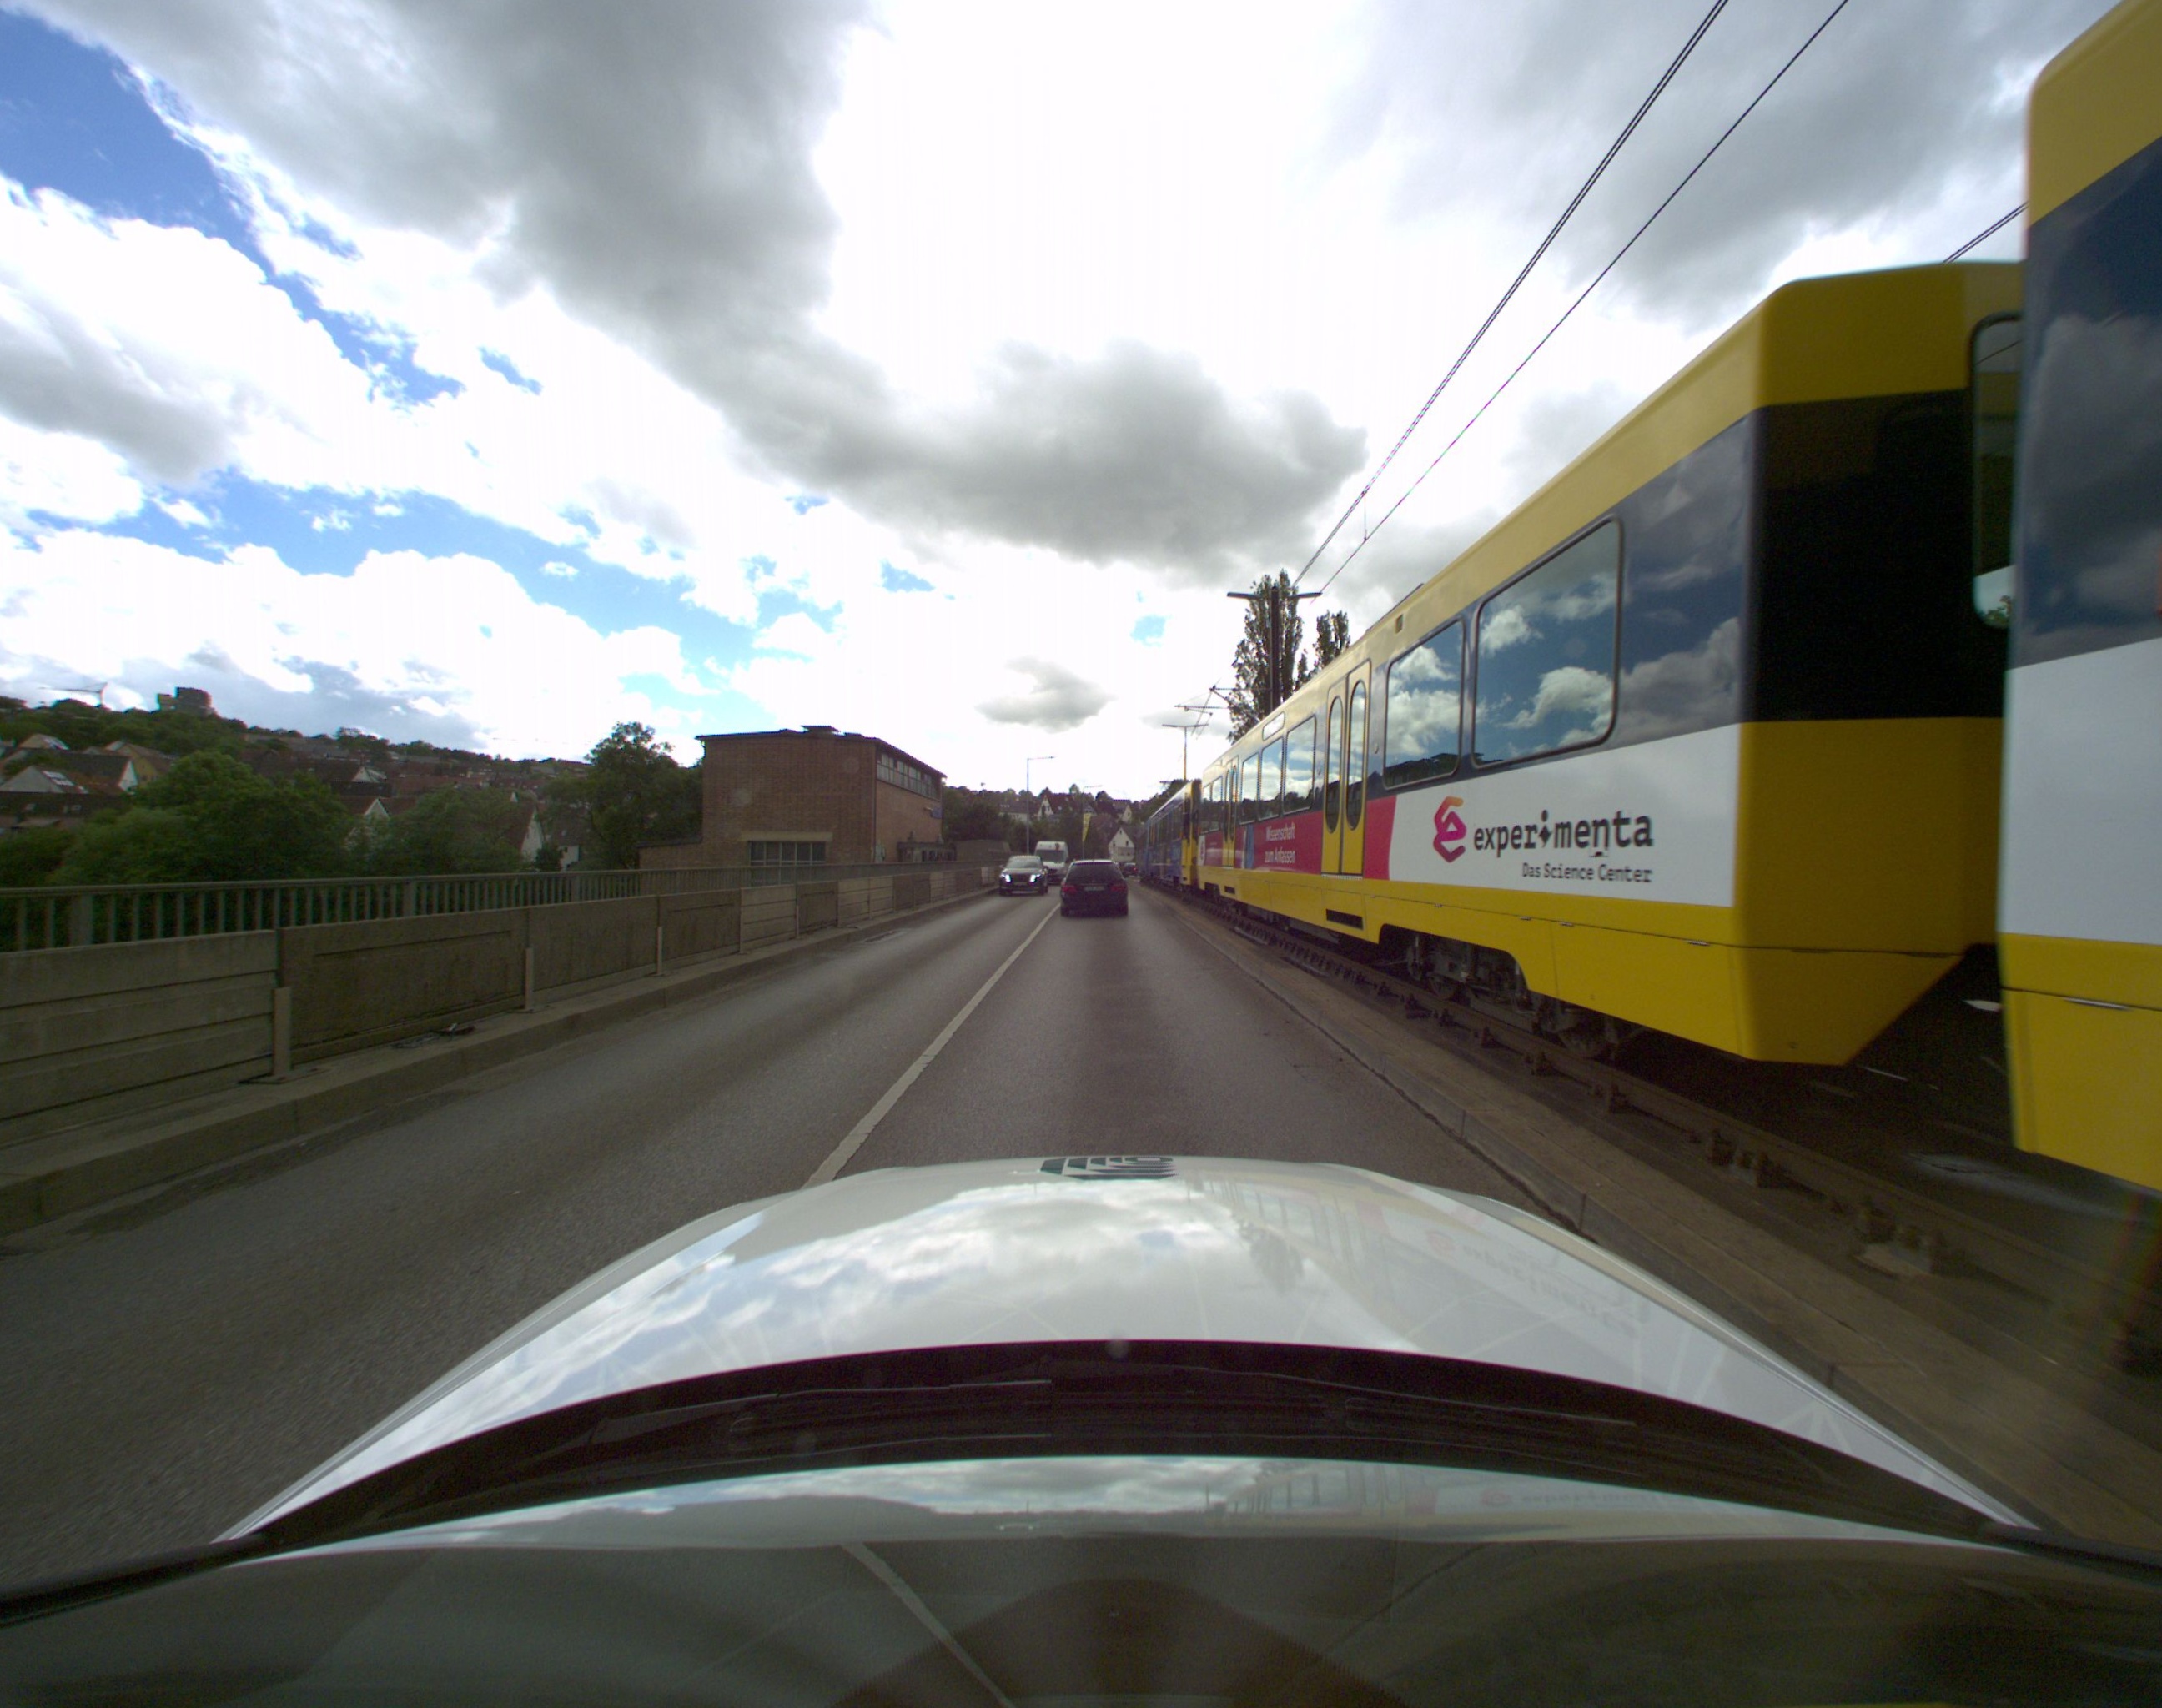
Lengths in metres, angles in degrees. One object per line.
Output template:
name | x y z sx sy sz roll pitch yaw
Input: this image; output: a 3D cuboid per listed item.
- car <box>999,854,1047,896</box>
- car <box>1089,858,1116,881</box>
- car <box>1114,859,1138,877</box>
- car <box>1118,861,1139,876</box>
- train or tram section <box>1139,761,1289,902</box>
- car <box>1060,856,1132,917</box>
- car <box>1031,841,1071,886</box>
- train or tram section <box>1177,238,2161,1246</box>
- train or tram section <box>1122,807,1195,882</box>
car | -2.440 0.844 35.176 1.709 1.645 4.000 -2 0 1
car | 1.516 1.106 58.896 1.765 1.555 4.239 -1 0 -1
car | 4.012 1.217 72.426 1.783 1.555 4.394 0 0 7
car | 5.123 1.514 86.860 1.760 1.555 4.251 1 0 9
train or tram section | 4.219 -0.527 31.547 2.775 3.656 19.894 -2 0 1
car | 0.394 0.826 22.614 1.753 1.516 4.442 -1 0 0
car | -1.728 0.489 50.028 2.026 2.561 7.009 -1 0 1
train or tram section | 3.863 -0.451 12.261 2.820 3.580 18.669 -2 0 1
train or tram section | 4.438 -0.426 51.464 2.784 3.764 19.890 1 0 0
